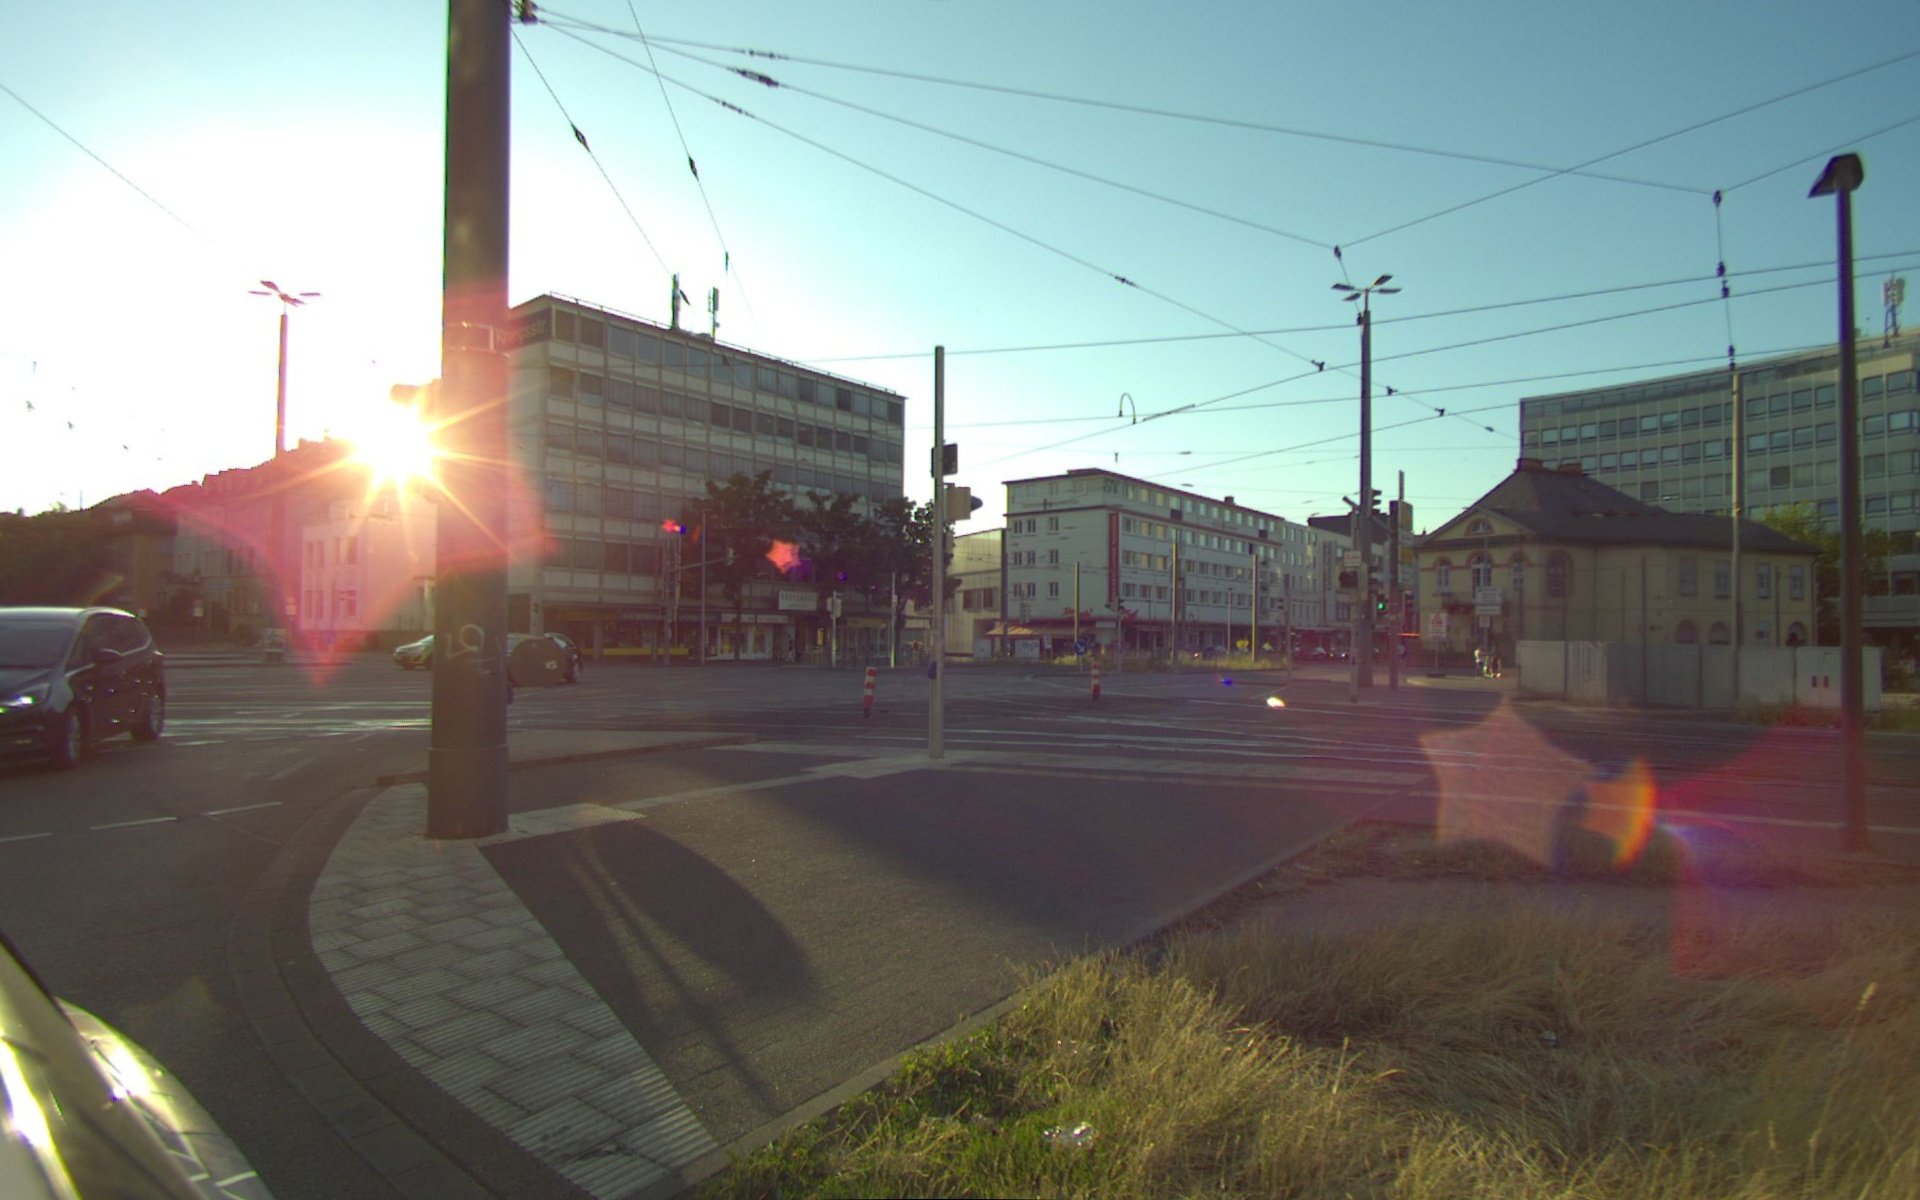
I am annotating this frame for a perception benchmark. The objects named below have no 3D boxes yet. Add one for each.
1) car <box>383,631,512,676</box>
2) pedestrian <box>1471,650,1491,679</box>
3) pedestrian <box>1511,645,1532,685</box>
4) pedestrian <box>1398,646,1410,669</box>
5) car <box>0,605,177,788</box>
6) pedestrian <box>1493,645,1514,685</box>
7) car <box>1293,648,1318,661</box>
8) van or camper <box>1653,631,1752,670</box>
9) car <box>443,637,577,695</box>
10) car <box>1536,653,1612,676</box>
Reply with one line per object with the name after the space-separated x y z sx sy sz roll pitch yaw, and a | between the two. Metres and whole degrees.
-19.051 1.988 37.773 1.744 1.578 3.978 -1 -3 33 | car
25.306 3.130 49.169 0.580 1.351 0.656 1 -1 -11 | pedestrian
21.477 2.485 38.695 0.590 1.521 0.646 -2 -4 39 | pedestrian
29.796 3.885 67.870 0.590 1.521 0.646 -2 -4 41 | pedestrian
-10.109 0.926 10.777 1.770 1.631 4.401 2 -3 -24 | car
21.056 2.510 39.176 0.590 1.521 0.646 -2 -4 39 | pedestrian
36.527 5.779 106.982 1.563 1.286 3.382 -1 -3 35 | car
45.325 3.091 61.808 5.031 2.319 2.005 1 -3 -13 | van or camper
-11.857 1.714 26.996 1.825 1.419 4.227 1 -3 -3 | car
35.628 3.760 58.750 3.527 1.286 1.857 1 -3 -17 | car
